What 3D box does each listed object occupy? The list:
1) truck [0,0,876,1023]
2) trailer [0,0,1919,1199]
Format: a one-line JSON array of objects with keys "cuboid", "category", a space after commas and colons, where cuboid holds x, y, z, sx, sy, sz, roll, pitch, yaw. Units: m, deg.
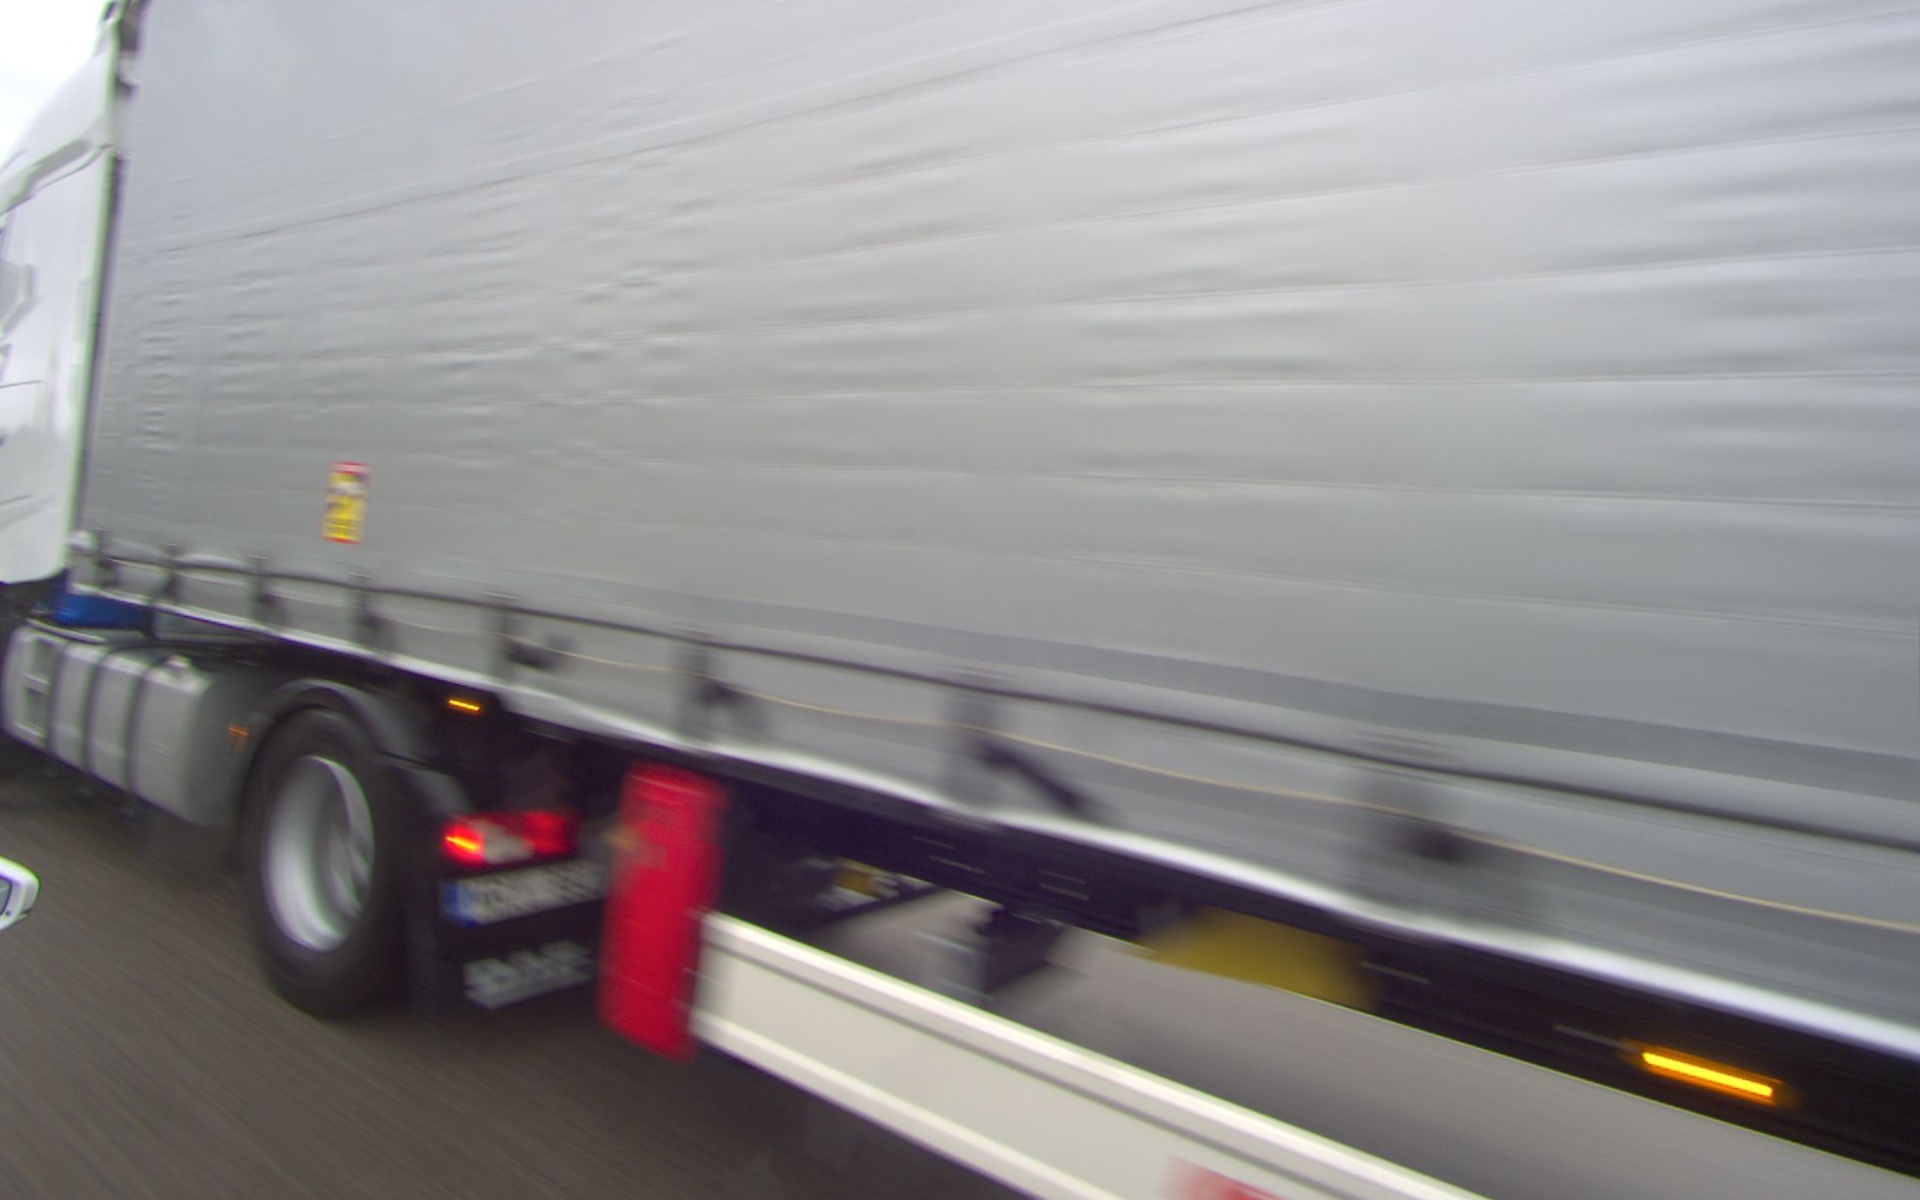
[{"cuboid": [-3.762, -0.950, 5.613, 5.657, 4.090, 2.725, 7, 0, 32], "category": "truck"}, {"cuboid": [2.274, -0.231, 1.843, 13.477, 4.090, 2.683, 7, 0, 32], "category": "trailer"}]
